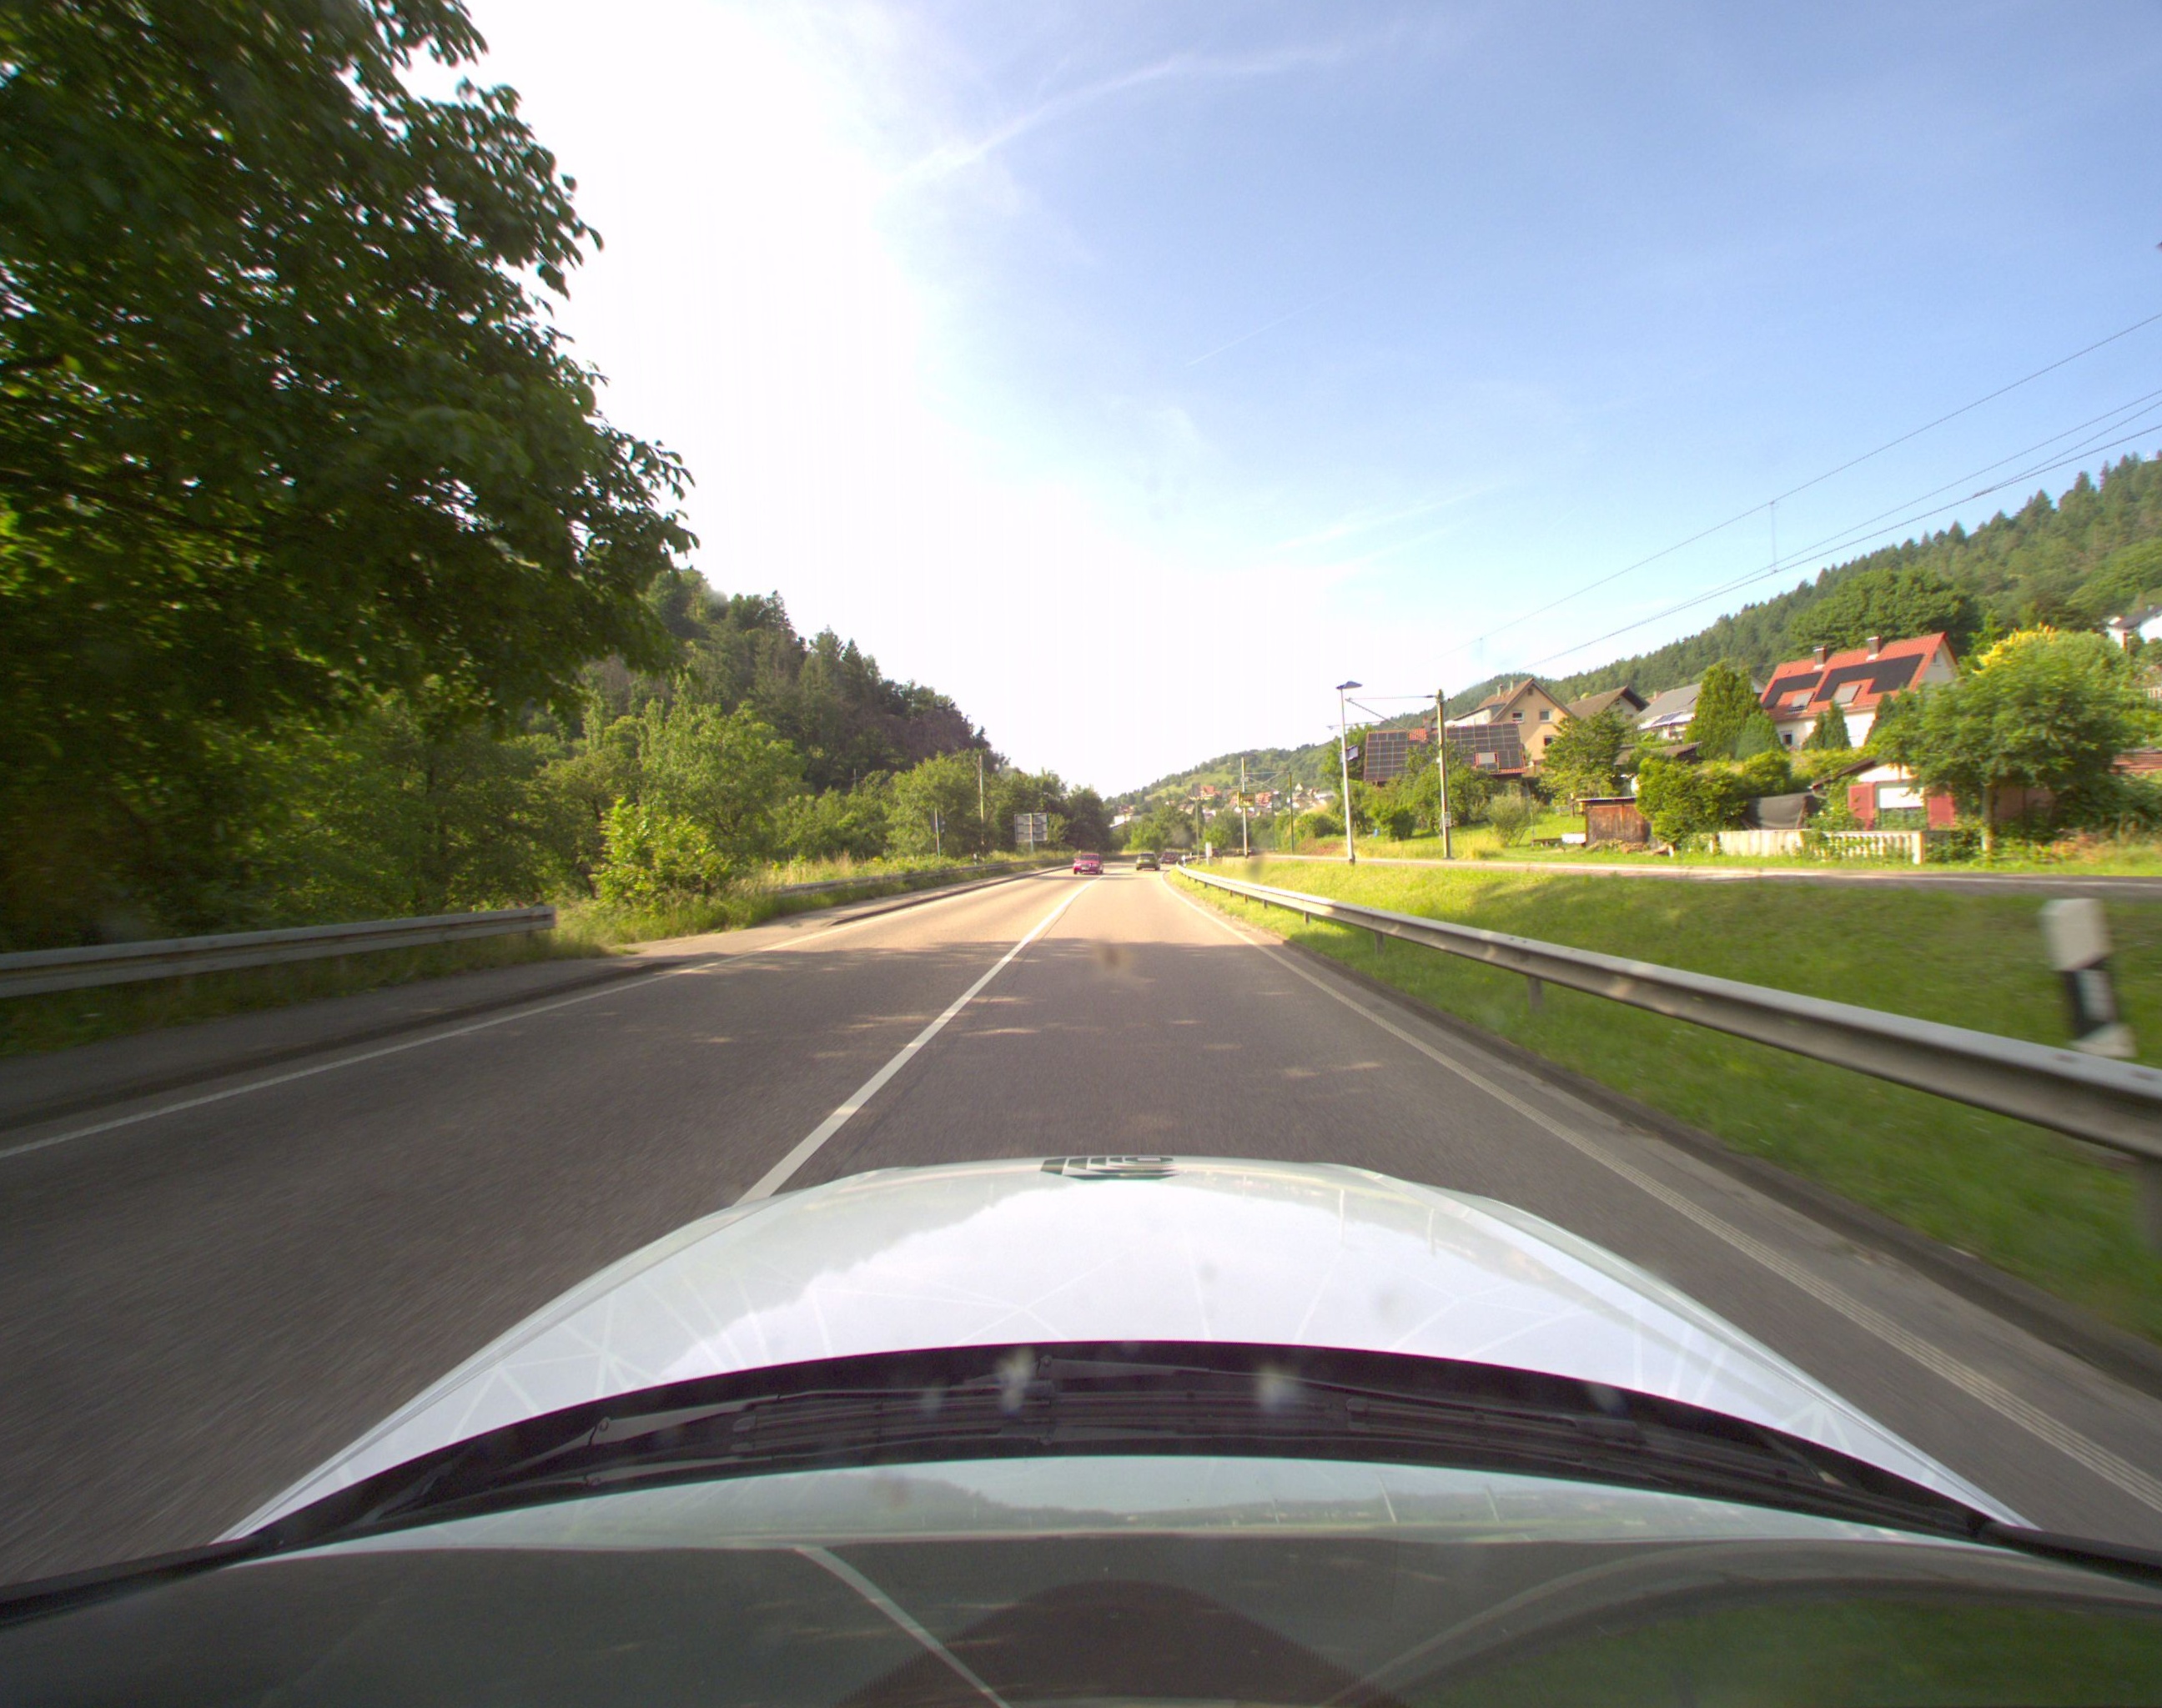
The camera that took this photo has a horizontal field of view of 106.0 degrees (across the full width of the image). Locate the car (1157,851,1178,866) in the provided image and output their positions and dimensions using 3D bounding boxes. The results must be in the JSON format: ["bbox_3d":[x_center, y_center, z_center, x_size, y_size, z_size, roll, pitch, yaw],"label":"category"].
[{"bbox_3d":[9.417,0.506,88.019,1.828,1.459,3.725,-3,0,12],"label":"car"}]

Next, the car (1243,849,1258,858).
[{"bbox_3d":[29.107,-0.130,139.875,1.792,1.408,3.795,-3,0,24],"label":"car"}]

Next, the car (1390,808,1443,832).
[{"bbox_3d":[28.419,-2.860,69.069,3.955,1.684,2.009,-3,0,18],"label":"car"}]

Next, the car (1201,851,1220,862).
[{"bbox_3d":[18.618,0.326,117.059,1.791,1.453,3.667,-3,0,22],"label":"car"}]

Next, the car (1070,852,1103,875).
[{"bbox_3d":[0.421,0.635,56.734,1.832,1.469,4.952,1,0,6],"label":"car"}]

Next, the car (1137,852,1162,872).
[{"bbox_3d":[5.636,0.642,66.508,1.718,1.457,3.419,-3,0,8],"label":"car"}]
